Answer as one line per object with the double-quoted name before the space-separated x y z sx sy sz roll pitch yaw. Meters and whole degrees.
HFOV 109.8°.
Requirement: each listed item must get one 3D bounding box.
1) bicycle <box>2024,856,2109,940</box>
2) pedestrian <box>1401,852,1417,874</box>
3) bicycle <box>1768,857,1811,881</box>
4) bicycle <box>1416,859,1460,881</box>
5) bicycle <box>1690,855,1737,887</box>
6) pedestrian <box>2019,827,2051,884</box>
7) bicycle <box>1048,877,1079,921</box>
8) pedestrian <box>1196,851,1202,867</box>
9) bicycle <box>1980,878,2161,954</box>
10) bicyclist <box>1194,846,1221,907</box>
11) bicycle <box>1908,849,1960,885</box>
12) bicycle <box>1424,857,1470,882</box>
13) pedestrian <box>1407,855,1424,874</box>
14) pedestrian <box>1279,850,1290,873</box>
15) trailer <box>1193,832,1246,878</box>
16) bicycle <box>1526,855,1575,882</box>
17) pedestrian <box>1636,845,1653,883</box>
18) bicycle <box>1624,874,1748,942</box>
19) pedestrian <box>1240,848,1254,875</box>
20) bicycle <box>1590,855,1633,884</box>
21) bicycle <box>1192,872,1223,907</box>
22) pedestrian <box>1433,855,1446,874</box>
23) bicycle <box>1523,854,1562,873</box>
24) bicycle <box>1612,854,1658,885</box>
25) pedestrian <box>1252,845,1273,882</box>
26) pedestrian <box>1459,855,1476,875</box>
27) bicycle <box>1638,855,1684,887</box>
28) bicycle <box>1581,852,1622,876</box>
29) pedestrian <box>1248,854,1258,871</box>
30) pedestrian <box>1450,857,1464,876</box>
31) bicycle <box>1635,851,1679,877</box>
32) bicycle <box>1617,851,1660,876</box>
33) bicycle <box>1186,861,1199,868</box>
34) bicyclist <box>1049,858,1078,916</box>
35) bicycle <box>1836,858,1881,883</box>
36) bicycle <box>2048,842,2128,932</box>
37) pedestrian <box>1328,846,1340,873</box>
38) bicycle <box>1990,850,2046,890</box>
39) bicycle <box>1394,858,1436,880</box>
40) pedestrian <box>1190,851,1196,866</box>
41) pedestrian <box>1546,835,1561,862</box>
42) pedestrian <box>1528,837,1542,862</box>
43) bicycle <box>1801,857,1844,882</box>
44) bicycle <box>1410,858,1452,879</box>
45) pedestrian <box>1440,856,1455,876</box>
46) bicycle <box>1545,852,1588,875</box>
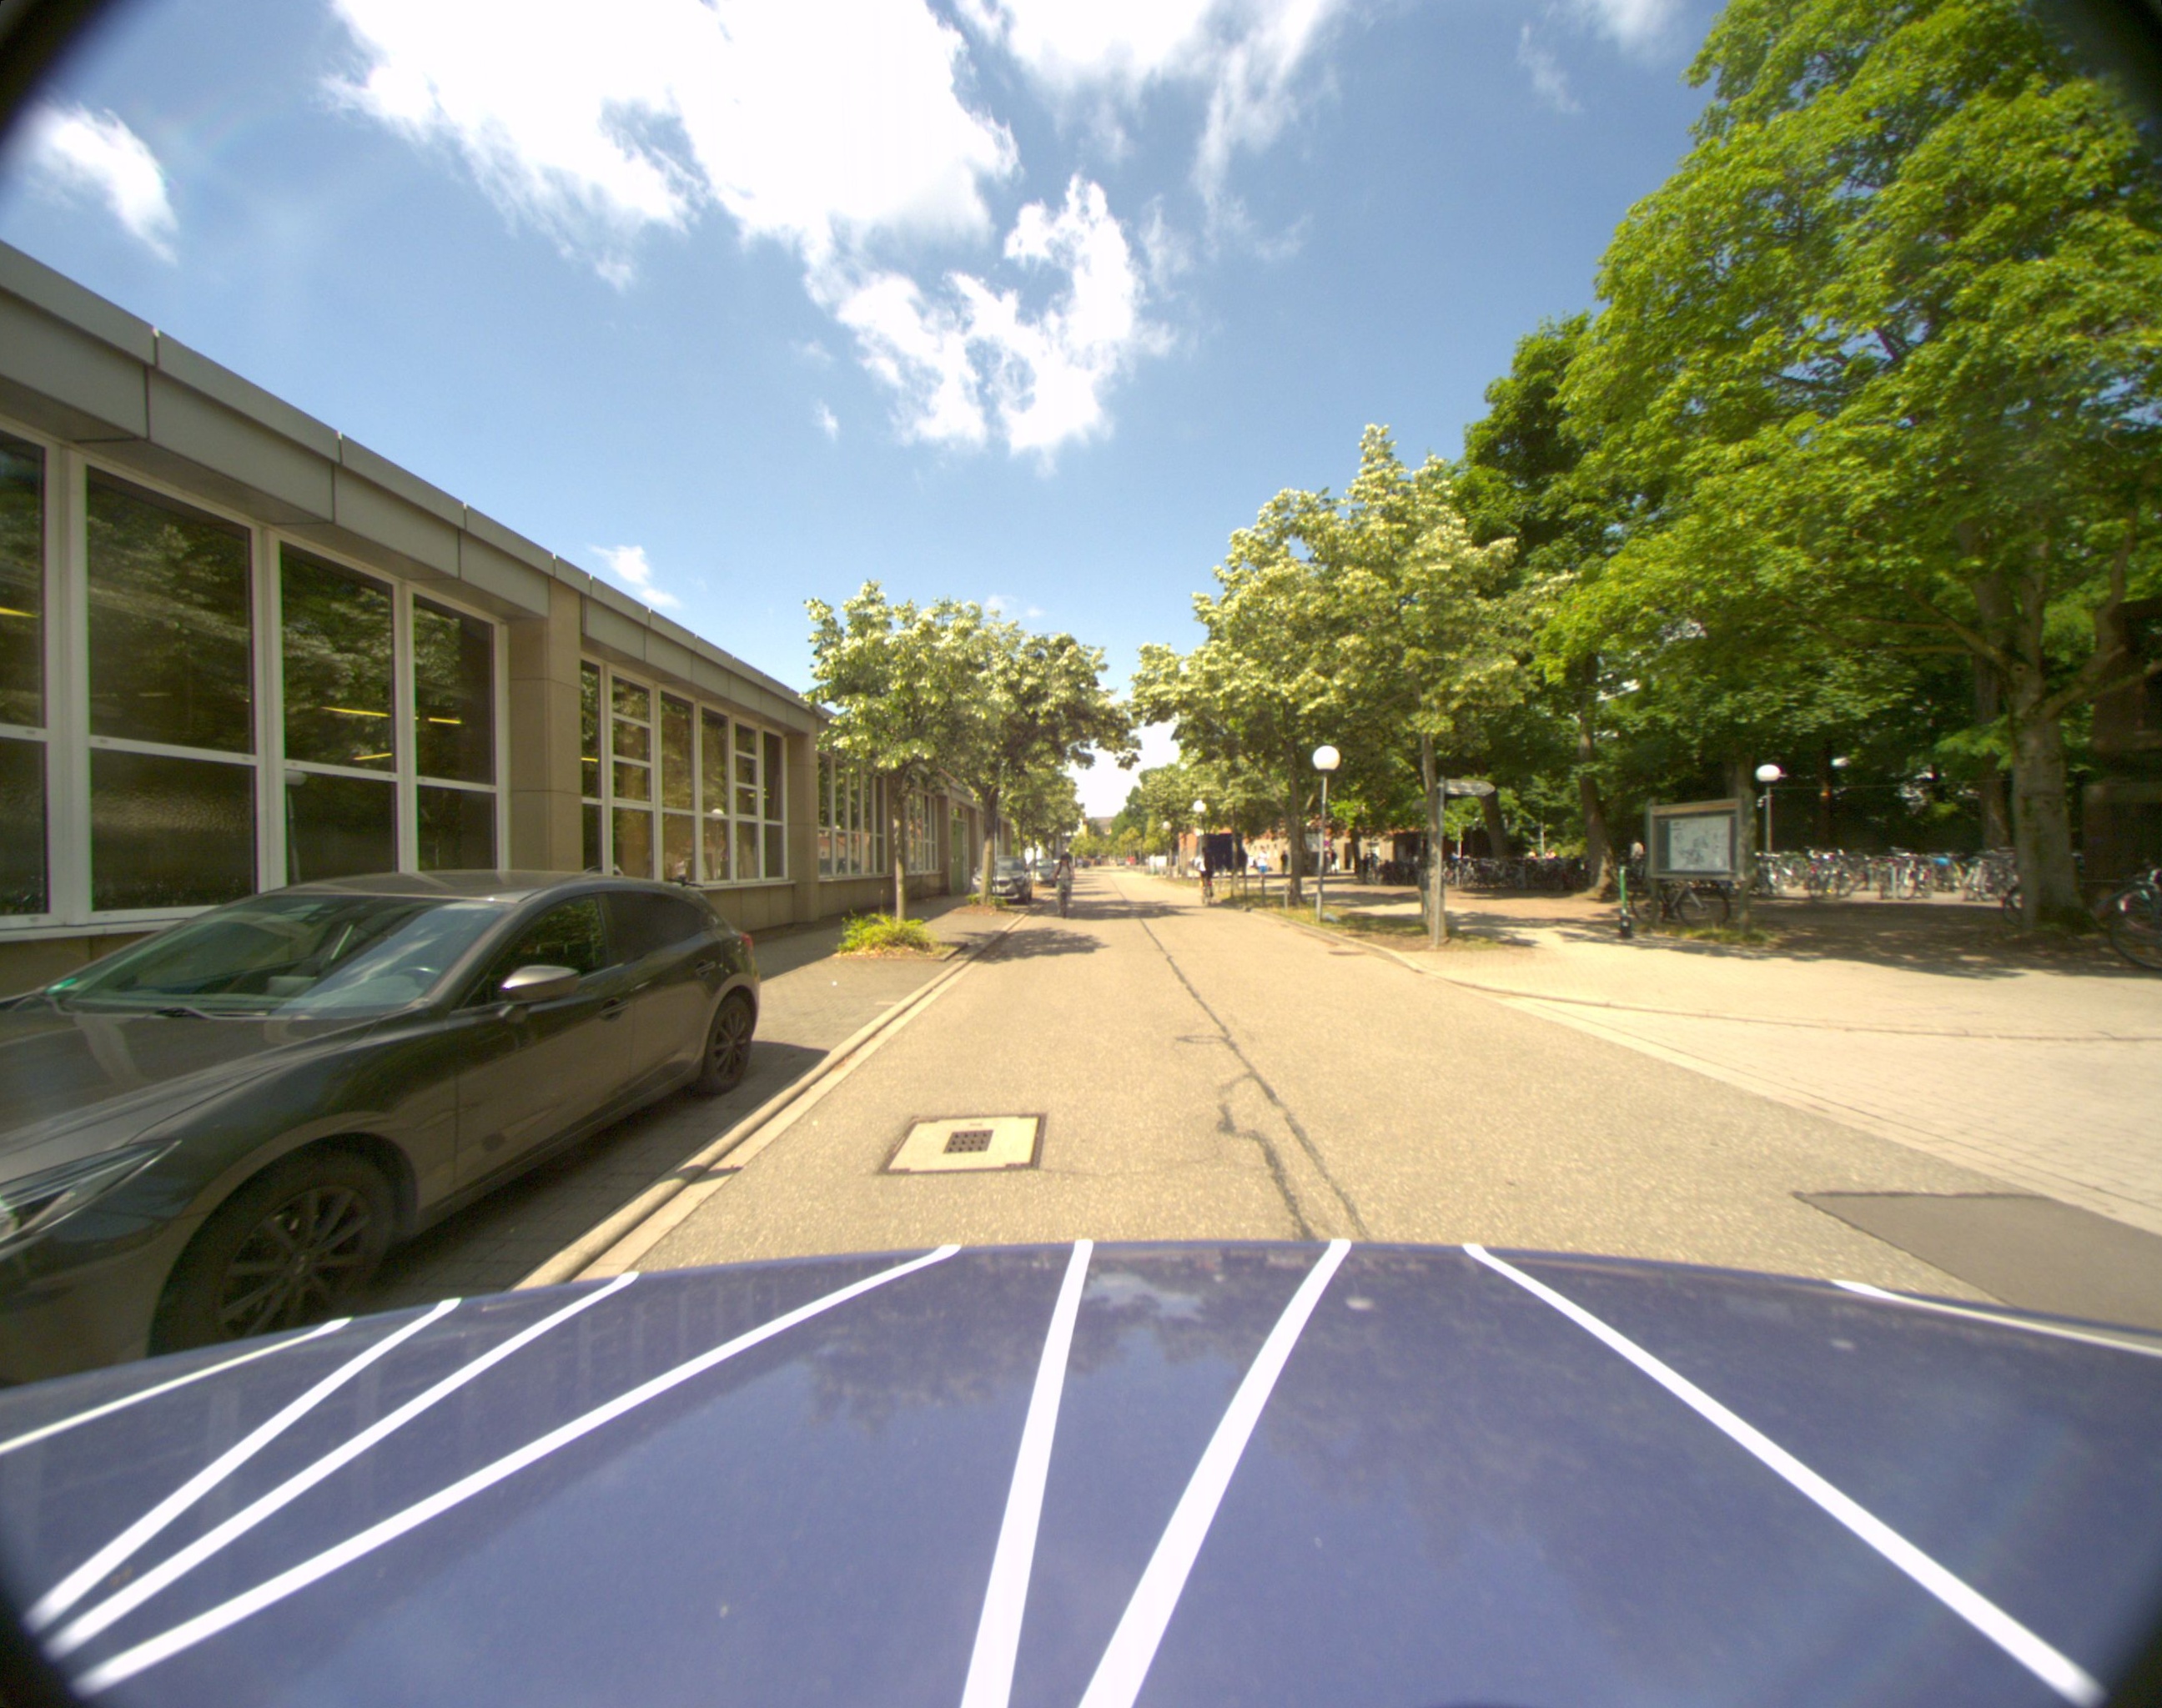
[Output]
"bicycle" 15.594 0.665 12.010 2.024 1.246 0.586 0 0 -31
"pedestrian" 21.843 0.600 50.559 0.596 1.361 0.741 -1 -2 -33
"bicycle" 27.962 0.574 29.992 1.769 0.888 0.418 -2 0 -19
"bicycle" 17.399 0.761 37.071 1.967 0.997 0.537 -2 0 -9
"bicycle" 22.388 0.585 26.904 1.970 1.083 0.546 -1 0 -28
"pedestrian" 29.149 0.040 23.215 0.413 1.703 0.543 -2 0 -29
"bicycle" -0.455 1.188 20.637 0.675 1.066 2.137 -1 0 3
"pedestrian" 13.657 0.600 88.172 0.577 1.769 0.917 -1 0 1
"bicycle" 14.180 0.844 10.889 0.477 0.959 1.655 -1 0 -10
"bicyclist" 4.231 0.742 25.500 0.713 2.002 1.019 1 0 -1
"bicycle" 29.605 0.453 26.358 1.798 1.199 0.423 -2 0 -15
"bicycle" 17.350 0.739 36.016 1.967 1.119 0.537 -2 0 -9
"pedestrian" 21.883 0.694 49.664 0.596 1.226 0.741 -1 -2 -33
"pedestrian" 14.905 0.534 55.569 0.632 1.656 0.643 -2 0 2
"trailer" 9.747 0.110 54.058 2.703 3.008 6.267 -2 0 1
"bicycle" 19.780 0.618 32.026 1.968 1.083 0.546 -1 0 -15
"pedestrian" 23.916 0.435 32.233 0.462 1.605 0.350 -2 0 -21
"bicycle" 10.137 0.873 12.814 0.383 1.019 1.813 -1 0 -11
"pedestrian" 12.253 0.576 56.106 0.919 1.943 0.893 -3 1 11
"bicycle" 20.951 0.596 29.995 1.970 1.083 0.546 -1 0 -28
"bicycle" 4.230 1.170 25.521 0.687 1.123 1.888 0 0 -1
"pedestrian" 24.300 0.725 51.544 0.561 1.264 0.693 -2 0 2
"bicycle" 23.840 0.485 39.261 1.884 0.937 0.546 -1 1 -12
"bicycle" 20.936 0.581 28.709 1.970 1.083 0.546 -1 0 -28
"pedestrian" 9.117 0.487 38.178 0.801 1.819 0.987 -2 0 2
"pedestrian" 24.639 0.704 48.421 0.570 1.243 0.766 -2 0 -10
"bicycle" 21.065 0.601 27.594 1.970 1.083 0.546 -1 0 -28
"bicycle" 24.758 0.475 36.163 1.960 1.085 0.596 -2 1 -21
"pedestrian" 14.660 0.725 64.830 0.744 1.500 0.499 -2 0 2
"pedestrian" 25.484 0.849 51.493 0.646 1.315 0.559 0 0 3
"bicycle" 25.413 0.425 33.520 1.960 1.085 0.596 -2 1 -21
"bicycle" 25.169 0.427 34.288 1.960 1.085 0.596 -2 1 -21
"bicycle" 16.991 1.581 116.020 1.955 1.024 0.542 -1 0 0
"bicyclist" -0.461 0.873 20.477 0.675 1.470 1.063 -1 2 3
"bicycle" 28.903 0.611 28.241 1.769 0.888 0.418 -2 0 -19
"bicycle" 17.488 0.534 13.179 2.294 1.441 0.605 -1 0 -31
"pedestrian" 17.463 0.396 52.520 0.530 1.837 0.806 -2 0 2
"bicycle" 30.273 0.508 24.545 1.798 1.199 0.423 -2 0 -15
"bicycle" 16.701 0.752 38.026 1.806 1.008 0.538 -2 0 4
"pedestrian" 12.956 0.483 88.224 0.564 1.751 0.806 -1 0 1
"pedestrian" 26.763 -0.322 43.034 0.507 1.513 0.473 -2 0 -9
"pedestrian" 25.645 -0.241 42.911 0.507 1.414 0.460 -2 0 -9
"bicycle" 28.434 0.603 29.136 1.769 0.888 0.418 -2 0 -19
"bicycle" 17.756 0.716 38.575 1.806 1.008 0.538 -2 0 4
"pedestrian" 25.337 0.819 52.497 0.689 1.315 0.778 0 0 3
"bicycle" 24.294 0.447 37.998 1.958 1.085 0.596 -1 1 -12
